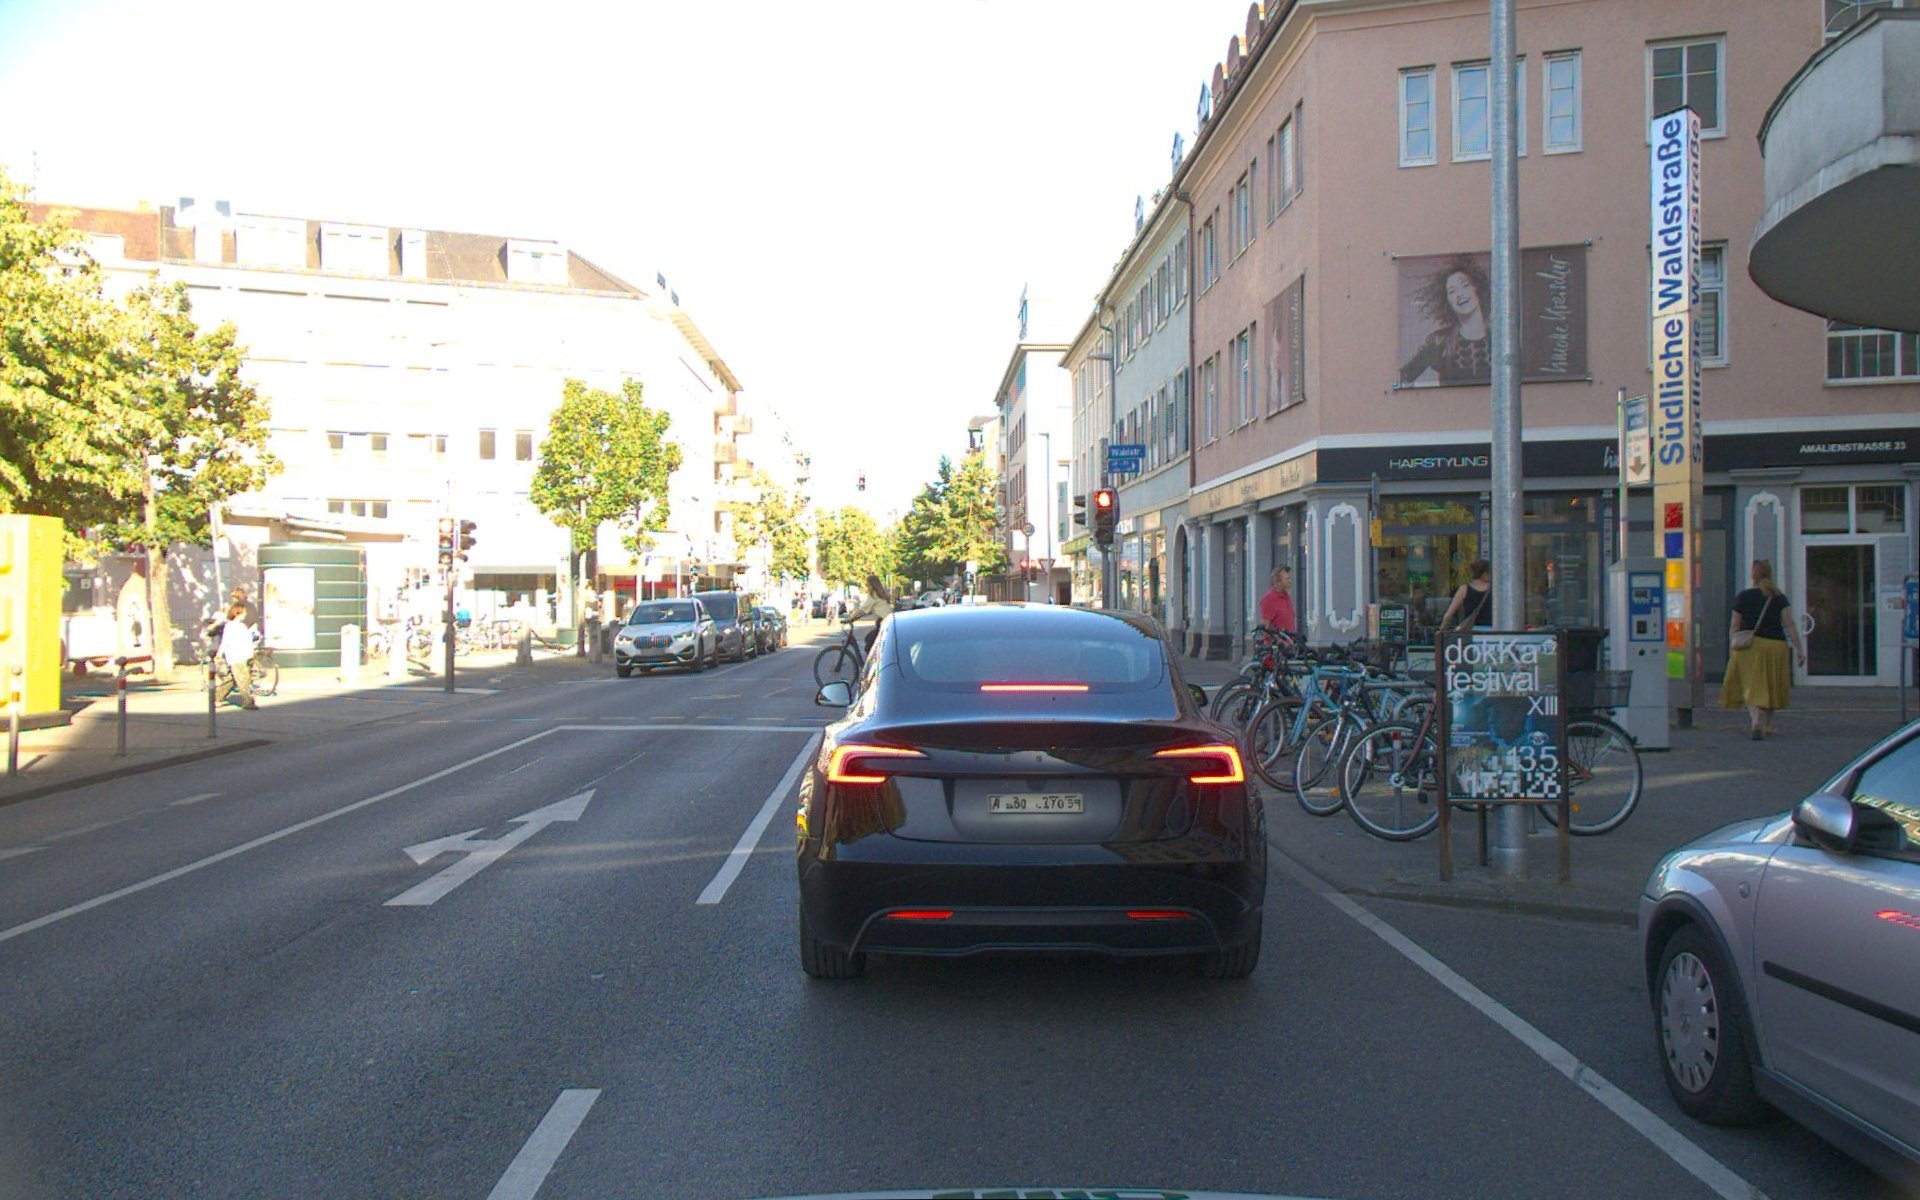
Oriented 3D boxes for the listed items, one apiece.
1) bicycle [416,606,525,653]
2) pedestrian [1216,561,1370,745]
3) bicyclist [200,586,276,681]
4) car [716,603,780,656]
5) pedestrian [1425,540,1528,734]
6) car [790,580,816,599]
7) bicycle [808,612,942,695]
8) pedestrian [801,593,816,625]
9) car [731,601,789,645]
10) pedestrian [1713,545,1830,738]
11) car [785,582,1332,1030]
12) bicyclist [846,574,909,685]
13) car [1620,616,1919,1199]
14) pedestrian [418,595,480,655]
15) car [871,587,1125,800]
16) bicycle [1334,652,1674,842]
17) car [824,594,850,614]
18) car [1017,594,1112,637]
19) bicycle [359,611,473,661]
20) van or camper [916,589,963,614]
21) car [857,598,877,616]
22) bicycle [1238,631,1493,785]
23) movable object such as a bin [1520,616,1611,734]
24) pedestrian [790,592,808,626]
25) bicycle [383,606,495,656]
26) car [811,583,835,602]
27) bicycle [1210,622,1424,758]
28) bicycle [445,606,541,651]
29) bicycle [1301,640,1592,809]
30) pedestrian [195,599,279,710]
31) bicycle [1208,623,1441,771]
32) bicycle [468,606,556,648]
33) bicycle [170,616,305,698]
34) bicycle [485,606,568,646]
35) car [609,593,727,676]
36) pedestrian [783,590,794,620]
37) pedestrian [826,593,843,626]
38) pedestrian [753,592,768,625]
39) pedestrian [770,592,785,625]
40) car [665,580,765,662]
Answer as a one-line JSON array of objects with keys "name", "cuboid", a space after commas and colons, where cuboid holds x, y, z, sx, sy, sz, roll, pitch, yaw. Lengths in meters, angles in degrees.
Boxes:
[{"name": "bicycle", "cuboid": [-13.996, 0.831, 47.316, 2.818, 1.292, 0.942, 1, 0, -4]}, {"name": "pedestrian", "cuboid": [3.335, 0.509, 16.561, 1.053, 1.750, 1.095, 1, -1, -44]}, {"name": "bicyclist", "cuboid": [-11.758, 0.539, 26.951, 0.934, 1.510, 0.608, 1, -1, 10]}, {"name": "car", "cuboid": [-6.331, 0.855, 49.683, 1.431, 1.455, 3.605, -3, 0, -1]}, {"name": "pedestrian", "cuboid": [5.235, 0.369, 16.820, 0.667, 1.882, 0.893, -3, -1, 1]}, {"name": "car", "cuboid": [-17.007, -1.129, 179.398, 2.228, 2.049, 4.717, 1, 0, 0]}, {"name": "bicycle", "cuboid": [-1.283, 0.807, 25.118, 1.912, 1.178, 0.576, -2, -1, 8]}, {"name": "pedestrian", "cuboid": [-8.901, 0.529, 97.346, 0.684, 1.900, 0.905, 1, -1, -18]}, {"name": "car", "cuboid": [-6.820, 0.766, 56.627, 1.660, 1.414, 3.914, -1, 0, -3]}, {"name": "pedestrian", "cuboid": [7.837, 0.395, 16.008, 0.706, 1.785, 0.788, -2, -1, 5]}, {"name": "car", "cuboid": [0.302, 0.701, 7.762, 1.812, 1.472, 4.450, 1, 0, -1]}, {"name": "bicyclist", "cuboid": [-1.250, 0.442, 25.104, 0.808, 1.642, 0.580, -2, 0, 8]}, {"name": "car", "cuboid": [2.923, 0.782, 3.528, 1.551, 1.451, 3.579, 1, 0, -1]}, {"name": "pedestrian", "cuboid": [-14.330, 0.692, 46.420, 1.070, 1.639, 1.266, 1, 0, 21]}, {"name": "car", "cuboid": [0.246, 0.687, 14.186, 1.812, 1.507, 4.450, 1, 0, -1]}, {"name": "bicycle", "cuboid": [3.281, 0.876, 10.082, 1.844, 1.062, 0.653, -1, 0, 0]}, {"name": "car", "cuboid": [-12.334, 0.396, 166.254, 2.365, 2.004, 4.677, 0, 0, -1]}, {"name": "car", "cuboid": [4.718, 0.704, 74.731, 3.937, 1.900, 1.686, 0, 0, -22]}, {"name": "bicycle", "cuboid": [-13.988, 0.925, 42.575, 2.607, 1.216, 0.942, 1, 0, -4]}, {"name": "van or camper", "cuboid": [-2.058, 0.173, 167.511, 4.752, 2.481, 1.850, 0, 0, -1]}, {"name": "car", "cuboid": [-10.490, 0.830, 186.958, 2.089, 2.004, 4.133, 0, 0, -1]}, {"name": "bicycle", "cuboid": [3.052, 0.806, 12.557, 1.776, 1.121, 0.653, 0, 0, 0]}, {"name": "movable object such as a bin", "cuboid": [6.045, 0.733, 16.532, 0.623, 1.122, 0.728, -2, 0, 3]}, {"name": "pedestrian", "cuboid": [-9.180, 0.511, 94.320, 0.719, 1.900, 0.790, 1, -1, 28]}, {"name": "bicycle", "cuboid": [-14.119, 0.844, 44.915, 2.725, 1.296, 0.932, 1, 0, -4]}, {"name": "car", "cuboid": [-15.590, -0.816, 188.054, 2.228, 2.049, 4.717, 1, 0, 0]}, {"name": "bicycle", "cuboid": [3.165, 0.793, 14.767, 1.776, 1.172, 0.653, 0, 0, 0]}, {"name": "bicycle", "cuboid": [-14.005, 0.846, 49.634, 2.609, 1.281, 0.942, 1, 0, -4]}, {"name": "bicycle", "cuboid": [3.252, 0.823, 11.154, 1.776, 1.078, 0.653, 0, 0, 0]}, {"name": "pedestrian", "cuboid": [-10.442, 0.782, 23.914, 0.904, 1.570, 0.694, 1, -1, -6]}, {"name": "bicycle", "cuboid": [2.981, 0.784, 13.630, 1.776, 1.172, 0.653, 0, 0, 0]}, {"name": "bicycle", "cuboid": [-14.057, 0.851, 51.909, 2.491, 1.273, 0.942, 1, 0, -4]}, {"name": "bicycle", "cuboid": [-11.758, 0.926, 26.928, 1.951, 1.244, 0.630, 2, -2, 11]}, {"name": "bicycle", "cuboid": [-14.222, 0.858, 54.331, 2.491, 1.273, 0.942, 1, 0, -4]}, {"name": "car", "cuboid": [-6.319, 0.712, 36.228, 1.788, 1.592, 4.299, -3, 0, -1]}, {"name": "pedestrian", "cuboid": [-10.759, 0.314, 103.706, 0.681, 1.900, 0.658, 1, -1, -6]}, {"name": "pedestrian", "cuboid": [-7.248, 0.550, 95.456, 0.762, 1.900, 1.004, 1, -1, -18]}, {"name": "pedestrian", "cuboid": [-11.679, 0.479, 96.909, 0.721, 1.900, 0.787, 1, -1, -17]}, {"name": "pedestrian", "cuboid": [-10.684, 0.496, 96.931, 0.721, 1.900, 0.787, 1, -1, -17]}, {"name": "car", "cuboid": [-6.227, 0.507, 42.556, 1.906, 1.981, 4.819, 0, 0, -1]}]
